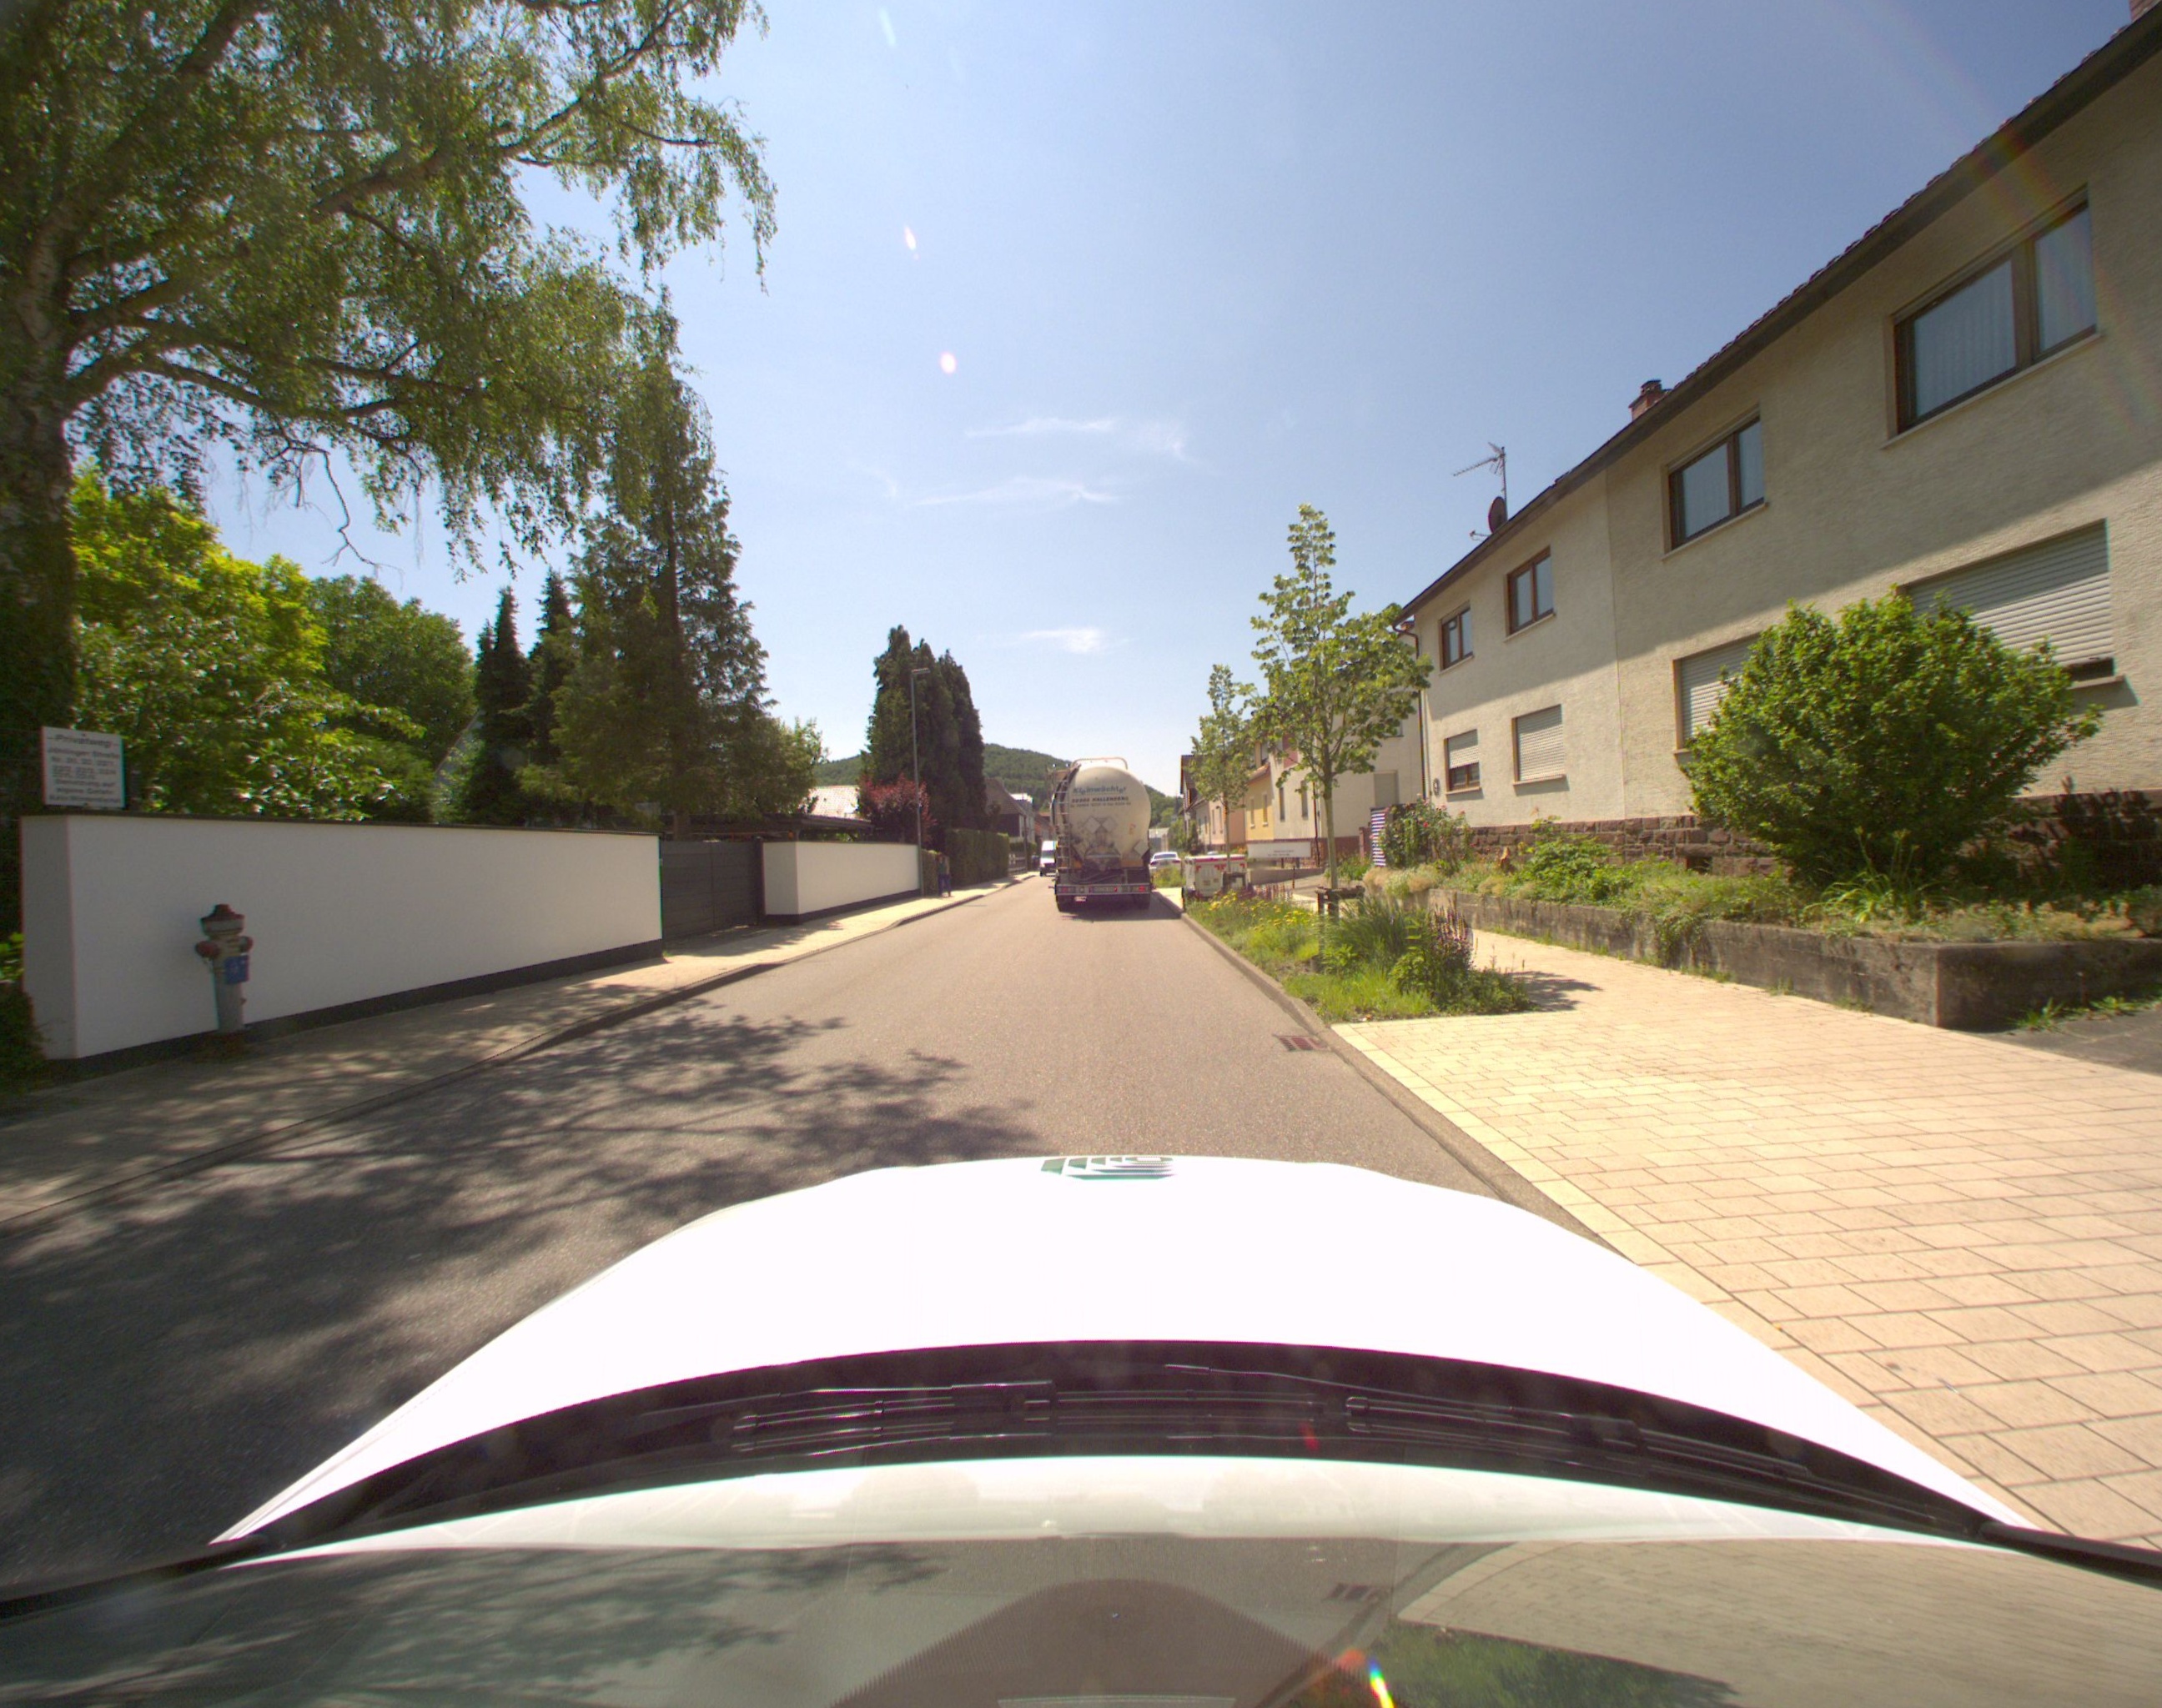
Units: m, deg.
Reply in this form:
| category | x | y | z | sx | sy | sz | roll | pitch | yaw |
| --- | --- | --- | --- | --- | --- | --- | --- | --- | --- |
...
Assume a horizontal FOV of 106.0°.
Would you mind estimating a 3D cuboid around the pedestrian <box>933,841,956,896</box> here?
| category | x | y | z | sx | sy | sz | roll | pitch | yaw |
| --- | --- | --- | --- | --- | --- | --- | --- | --- | --- |
| pedestrian | -5.049 | 0.548 | 30.182 | 0.718 | 2.014 | 0.804 | -1 | -1 | 0 |

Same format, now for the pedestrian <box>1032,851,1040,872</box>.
| category | x | y | z | sx | sy | sz | roll | pitch | yaw |
| --- | --- | --- | --- | --- | --- | --- | --- | --- | --- |
| pedestrian | -4.029 | 0.680 | 73.248 | 0.710 | 1.823 | 0.897 | 0 | -1 | -2 |

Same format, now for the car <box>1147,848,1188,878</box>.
| category | x | y | z | sx | sy | sz | roll | pitch | yaw |
| --- | --- | --- | --- | --- | --- | --- | --- | --- | --- |
| car | 4.609 | 0.505 | 44.004 | 1.750 | 1.418 | 4.633 | -4 | -2 | 1 |

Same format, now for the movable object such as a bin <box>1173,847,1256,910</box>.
| category | x | y | z | sx | sy | sz | roll | pitch | yaw |
| --- | --- | --- | --- | --- | --- | --- | --- | --- | --- |
| movable object such as a bin | 3.297 | 0.598 | 20.591 | 1.566 | 1.417 | 3.041 | -3 | -1 | 1 |

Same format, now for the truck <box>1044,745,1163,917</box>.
| category | x | y | z | sx | sy | sz | roll | pitch | yaw |
| --- | --- | --- | --- | --- | --- | --- | --- | --- | --- |
| truck | 0.641 | -0.555 | 24.895 | 2.740 | 4.057 | 10.891 | -1 | 0 | 1 |

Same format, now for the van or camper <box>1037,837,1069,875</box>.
| category | x | y | z | sx | sy | sz | roll | pitch | yaw |
| --- | --- | --- | --- | --- | --- | --- | --- | --- | --- |
| van or camper | -1.995 | 0.181 | 60.483 | 2.030 | 2.714 | 5.825 | -1 | -1 | 1 |

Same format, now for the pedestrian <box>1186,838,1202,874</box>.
| category | x | y | z | sx | sy | sz | roll | pitch | yaw |
| --- | --- | --- | --- | --- | --- | --- | --- | --- | --- |
| pedestrian | 6.300 | 0.112 | 45.503 | 0.743 | 2.014 | 1.034 | -1 | -1 | 3 |
